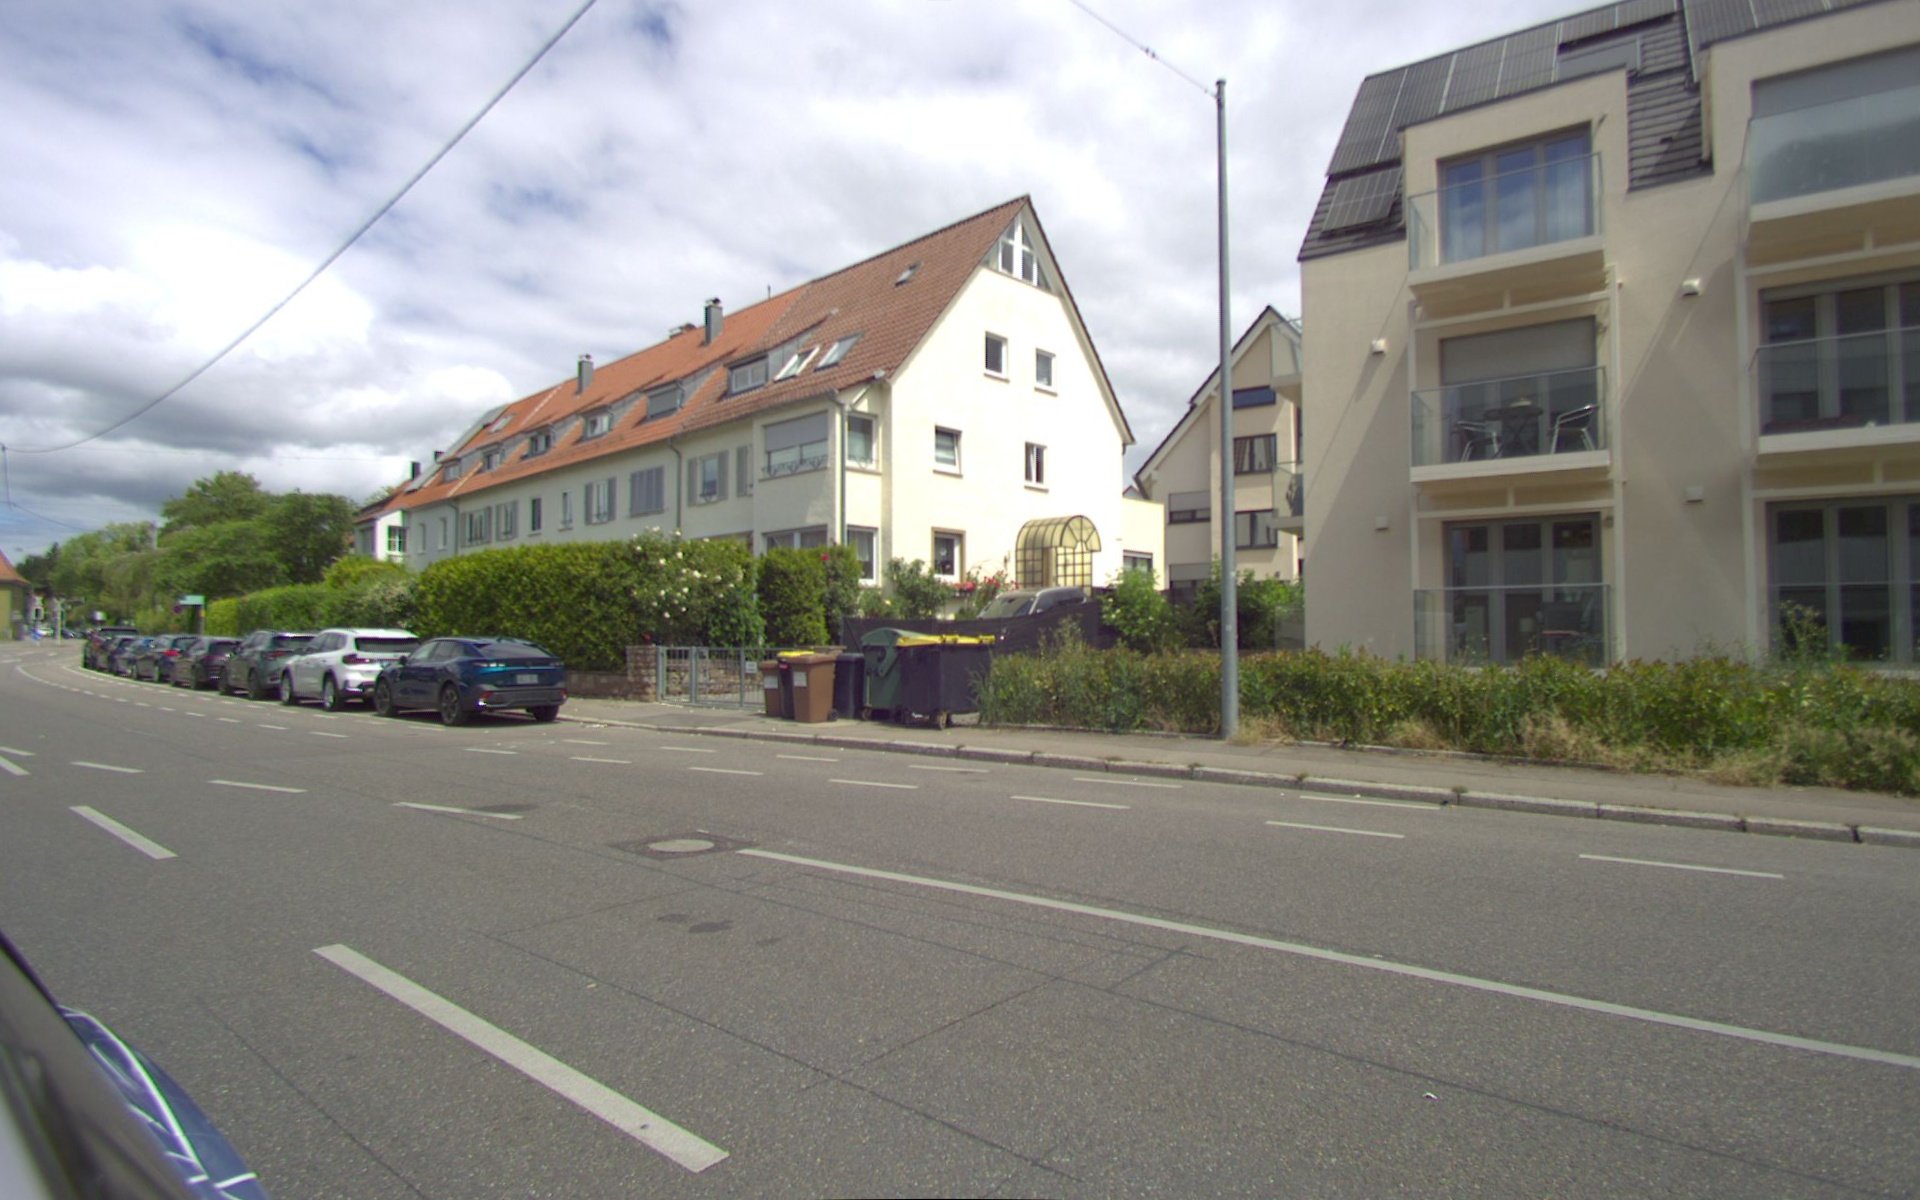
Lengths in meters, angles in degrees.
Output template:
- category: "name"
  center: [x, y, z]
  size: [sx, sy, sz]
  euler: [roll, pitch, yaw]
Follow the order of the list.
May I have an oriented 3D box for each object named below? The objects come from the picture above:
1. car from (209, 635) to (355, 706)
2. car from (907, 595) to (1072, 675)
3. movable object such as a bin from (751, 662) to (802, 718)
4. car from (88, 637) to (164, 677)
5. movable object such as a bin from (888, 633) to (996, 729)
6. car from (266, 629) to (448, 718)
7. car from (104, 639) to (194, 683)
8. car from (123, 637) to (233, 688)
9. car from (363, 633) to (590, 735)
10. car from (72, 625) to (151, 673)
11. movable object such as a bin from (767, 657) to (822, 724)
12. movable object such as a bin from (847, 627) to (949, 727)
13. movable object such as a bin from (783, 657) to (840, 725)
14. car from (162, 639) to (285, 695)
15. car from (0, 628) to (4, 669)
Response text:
- category: "car"
  center: [-16.725, 1.658, 24.881]
  size: [4.690, 1.576, 1.971]
  euler: [-2, -3, 43]
- category: "car"
  center: [0.760, 0.784, 23.785]
  size: [1.802, 1.719, 3.946]
  euler: [-2, -2, 40]
- category: "movable object such as a bin"
  center: [-3.064, 1.489, 16.877]
  size: [0.614, 0.886, 0.589]
  euler: [-2, -3, 41]
- category: "car"
  center: [-32.594, 2.186, 39.514]
  size: [4.340, 1.428, 1.758]
  euler: [-2, -3, 44]
- category: "movable object such as a bin"
  center: [-0.267, 1.154, 14.876]
  size: [1.214, 1.323, 1.053]
  euler: [-2, -3, 43]
- category: "car"
  center: [-12.715, 1.456, 21.223]
  size: [4.515, 1.663, 1.972]
  euler: [-2, -3, 41]
- category: "car"
  center: [-28.686, 2.098, 35.756]
  size: [4.439, 1.428, 1.759]
  euler: [-2, -3, 42]
- category: "car"
  center: [-24.844, 1.936, 32.105]
  size: [4.561, 1.503, 1.760]
  euler: [-2, -3, 39]
- category: "car"
  center: [-8.716, 1.394, 18.095]
  size: [4.485, 1.599, 1.973]
  euler: [-2, -3, 40]
- category: "car"
  center: [-36.340, 2.090, 43.305]
  size: [5.405, 1.909, 1.971]
  euler: [-2, -5, 44]
- category: "movable object such as a bin"
  center: [-2.670, 1.446, 16.332]
  size: [0.658, 1.032, 0.589]
  euler: [-2, -3, 41]
- category: "movable object such as a bin"
  center: [-0.974, 1.187, 15.965]
  size: [1.213, 1.493, 1.054]
  euler: [-2, -3, 39]
- category: "movable object such as a bin"
  center: [-2.306, 1.400, 15.731]
  size: [0.658, 1.015, 0.589]
  euler: [-2, -3, 41]
- category: "car"
  center: [-20.826, 1.820, 28.556]
  size: [4.690, 1.419, 1.971]
  euler: [-2, -3, 43]
- category: "car"
  center: [-42.110, 2.107, 42.928]
  size: [1.903, 1.795, 4.008]
  euler: [0, -1, -38]
